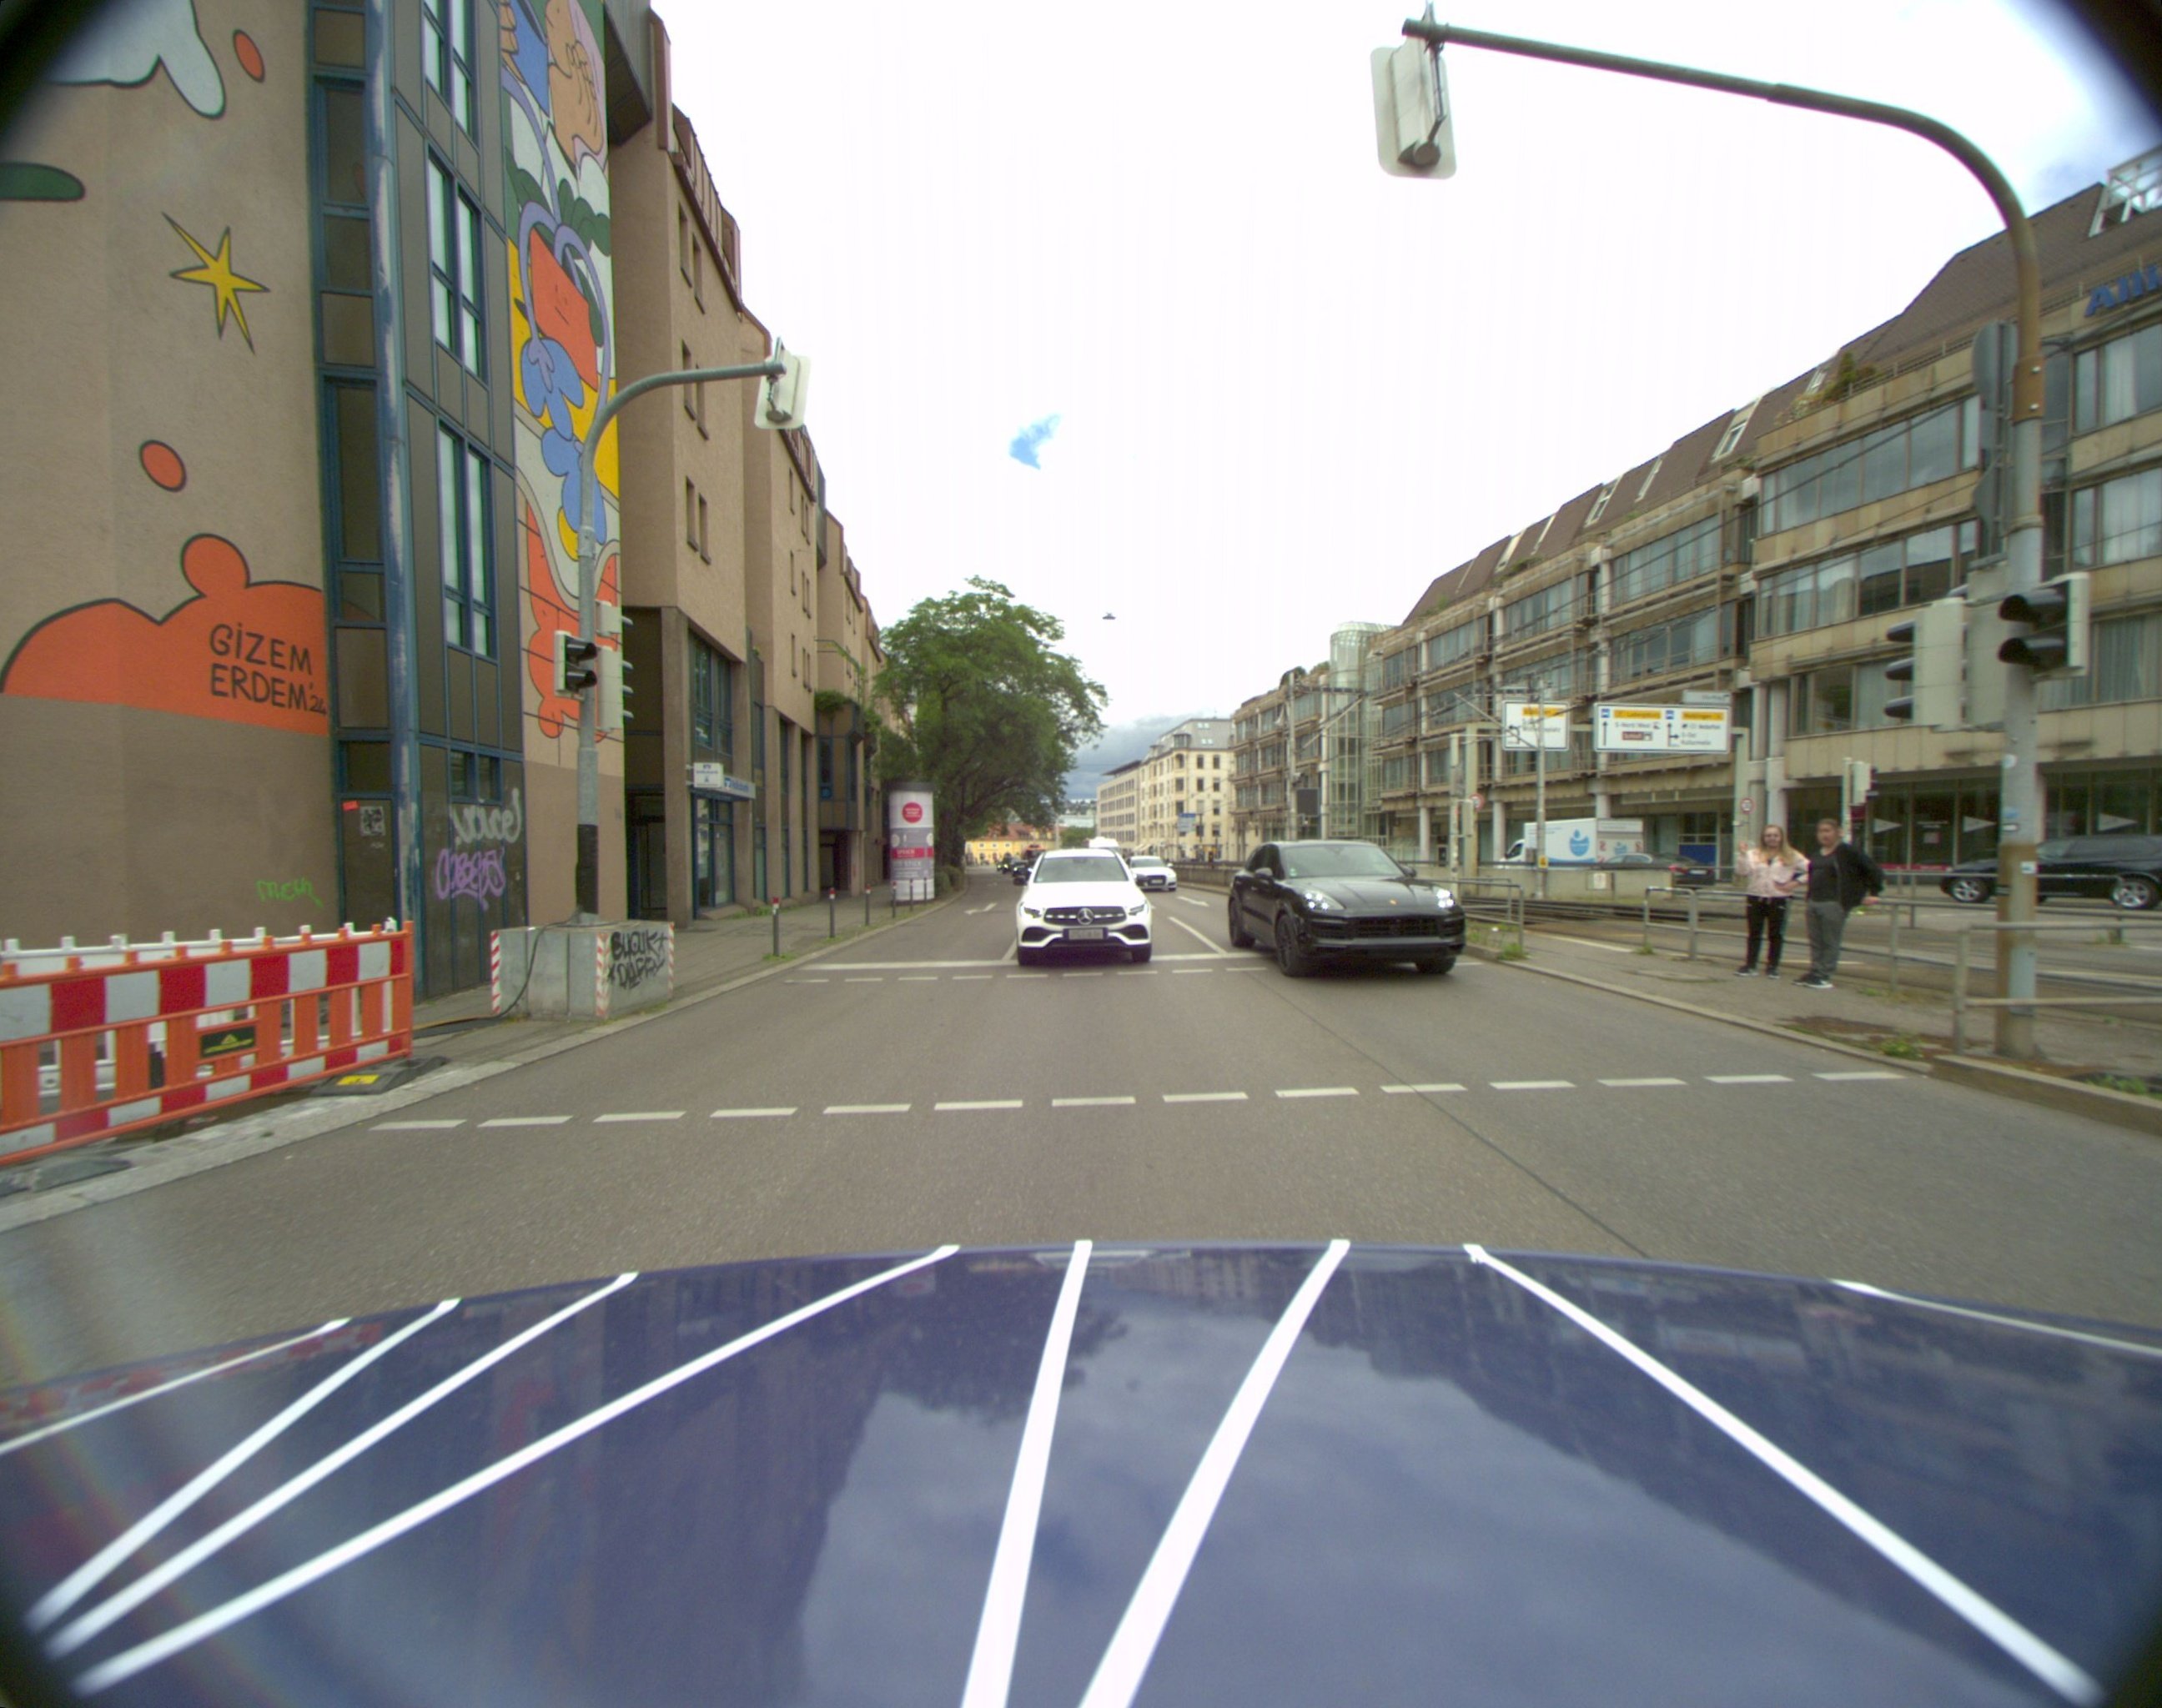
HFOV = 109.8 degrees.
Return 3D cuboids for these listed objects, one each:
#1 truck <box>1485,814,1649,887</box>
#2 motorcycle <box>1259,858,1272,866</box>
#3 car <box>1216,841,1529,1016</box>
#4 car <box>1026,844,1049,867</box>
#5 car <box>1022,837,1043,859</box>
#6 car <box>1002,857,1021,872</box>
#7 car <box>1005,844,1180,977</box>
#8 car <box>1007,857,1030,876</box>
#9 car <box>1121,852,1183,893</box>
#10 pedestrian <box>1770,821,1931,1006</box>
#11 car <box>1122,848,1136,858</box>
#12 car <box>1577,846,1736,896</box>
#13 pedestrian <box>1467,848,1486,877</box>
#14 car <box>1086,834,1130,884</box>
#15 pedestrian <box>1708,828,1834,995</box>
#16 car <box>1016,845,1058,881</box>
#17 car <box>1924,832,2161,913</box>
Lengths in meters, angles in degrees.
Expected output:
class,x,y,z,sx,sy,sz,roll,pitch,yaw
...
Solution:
class,x,y,z,sx,sy,sz,roll,pitch,yaw
truck,22.523,-0.164,35.780,2.274,3.058,7.369,1,0,-7
motorcycle,23.449,1.022,96.369,0.645,1.069,1.669,-3,1,-28
car,3.327,0.727,10.092,2.088,1.665,5.352,-1,0,0
car,-5.580,0.180,96.727,2.504,2.793,5.724,-2,0,-6
car,-6.703,-0.792,104.096,2.504,2.793,5.724,-2,0,-6
car,-7.524,1.105,82.763,1.950,1.521,3.998,-2,0,-4
car,-0.027,0.712,11.631,2.061,1.599,3.924,-2,0,-8
car,-5.595,1.118,68.795,1.950,1.521,3.998,-2,0,-4
car,2.875,0.703,31.487,1.950,1.521,3.999,-2,0,-3
pedestrian,7.556,0.558,7.499,0.794,1.711,0.772,-1,0,-2
car,9.561,-0.166,150.117,2.000,2.002,3.997,0,0,-8
car,19.657,0.527,26.246,1.662,1.543,4.532,-1,0,-8
pedestrian,24.865,0.518,47.817,0.733,1.801,0.739,-2,1,-7
car,1.528,0.275,44.907,2.295,2.723,4.753,-2,0,0
pedestrian,7.419,0.595,8.194,0.766,1.711,0.637,-1,0,-2
car,-2.839,0.539,50.456,2.503,2.144,5.727,-2,0,-1
car,24.060,0.387,18.370,1.679,1.749,4.778,-2,0,-8
